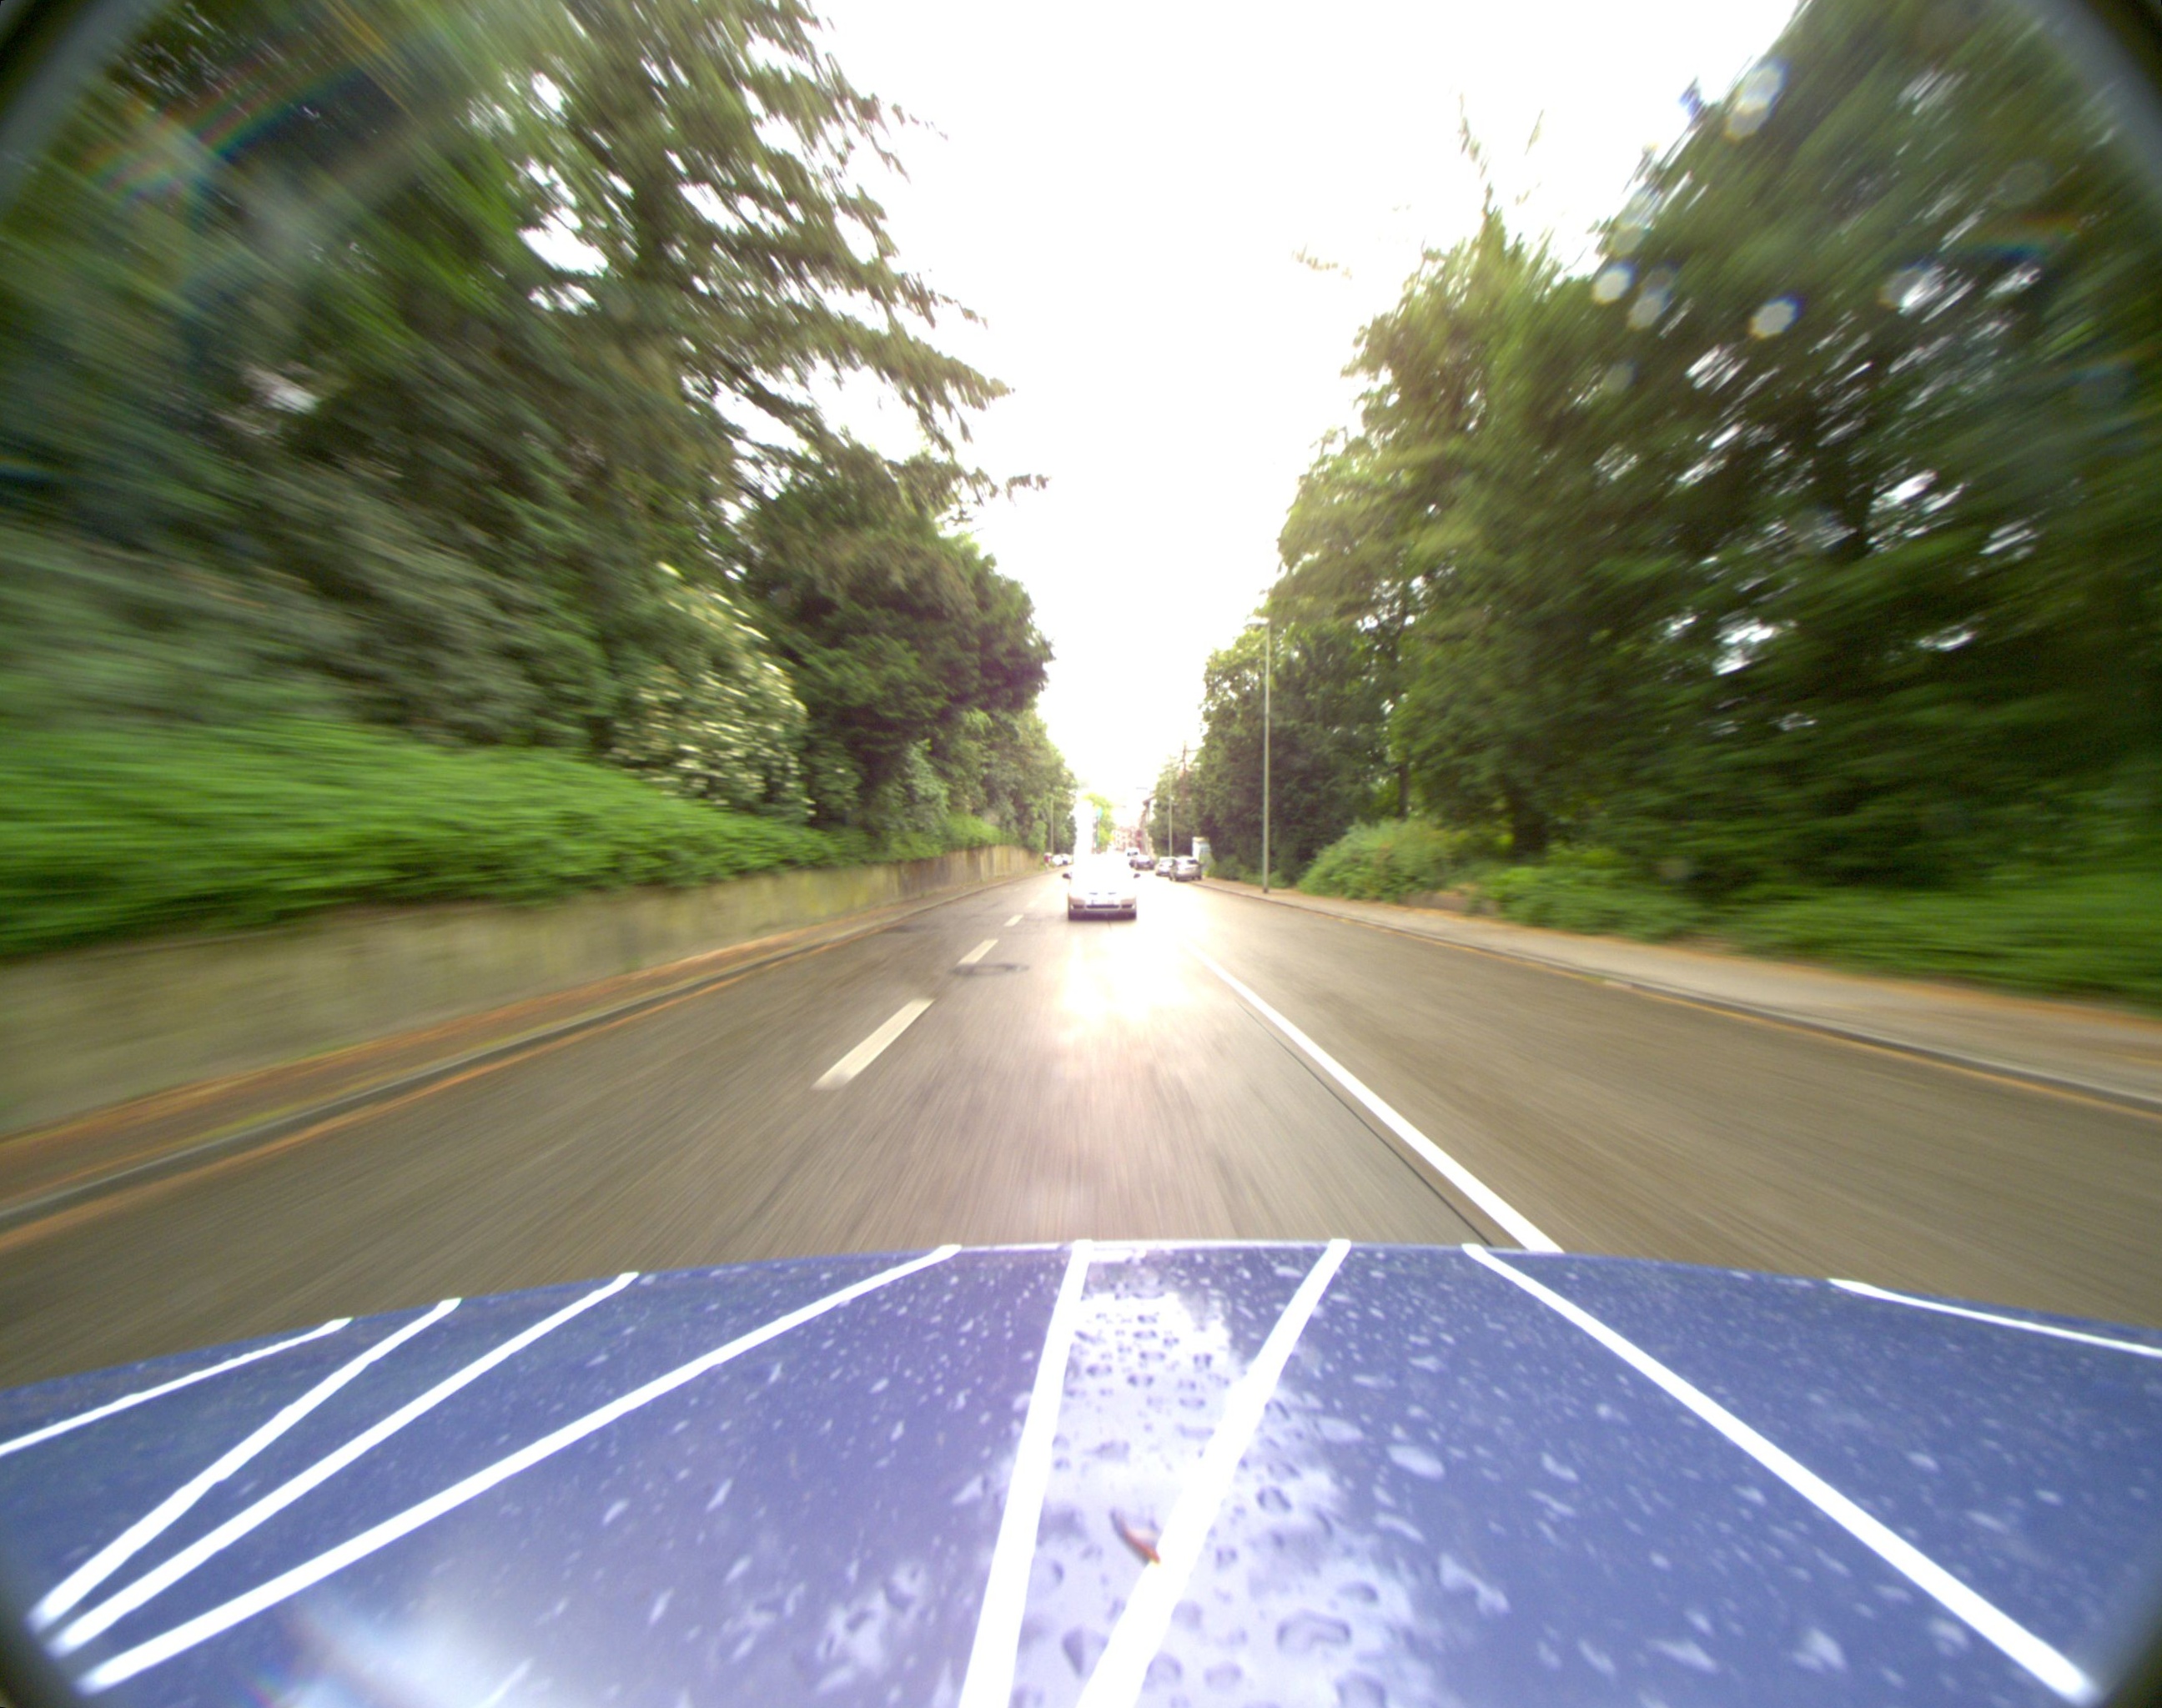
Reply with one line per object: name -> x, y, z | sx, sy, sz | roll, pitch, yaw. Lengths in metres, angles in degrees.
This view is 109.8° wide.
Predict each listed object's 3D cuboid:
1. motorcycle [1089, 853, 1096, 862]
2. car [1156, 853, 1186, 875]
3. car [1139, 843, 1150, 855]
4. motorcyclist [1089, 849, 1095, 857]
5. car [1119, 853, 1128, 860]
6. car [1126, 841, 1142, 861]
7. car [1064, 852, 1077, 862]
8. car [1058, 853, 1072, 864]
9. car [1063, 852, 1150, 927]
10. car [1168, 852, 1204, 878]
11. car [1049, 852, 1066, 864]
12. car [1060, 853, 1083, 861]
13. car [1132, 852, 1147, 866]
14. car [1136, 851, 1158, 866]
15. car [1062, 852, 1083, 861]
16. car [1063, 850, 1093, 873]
motorcycle -> 1.613, 0.502, 107.174 | 0.778, 1.120, 2.300 | -2, 0, 6
car -> 7.068, 0.793, 60.120 | 1.891, 1.602, 4.239 | 2, 0, 1
car -> 14.160, -1.083, 169.878 | 2.122, 2.536, 5.445 | 2, 0, 3
motorcyclist -> 1.602, -0.121, 107.126 | 0.778, 1.120, 0.549 | -2, 1, 5
car -> 8.611, 0.531, 155.292 | 1.765, 1.482, 4.001 | -1, 0, 4
car -> 7.291, -0.402, 105.049 | 2.122, 2.536, 5.445 | 2, 0, 3
car -> -1.631, 0.518, 120.357 | 1.567, 1.458, 3.899 | 2, 0, 4
car -> -2.356, 0.634, 112.766 | 1.769, 1.614, 4.679 | 0, 1, 2
car -> 0.747, 0.775, 18.712 | 1.825, 1.603, 4.190 | -1, 0, 6
car -> 6.678, 0.678, 48.575 | 1.630, 1.490, 3.927 | -2, 0, -2
car -> -3.154, 0.555, 102.397 | 1.742, 1.469, 4.741 | 2, 0, 4
car -> -1.745, 0.628, 143.840 | 4.192, 1.408, 1.804 | 2, 0, 3
car -> 7.188, 0.633, 93.651 | 1.648, 1.595, 4.187 | 2, 0, 4
car -> 6.979, 0.494, 80.956 | 1.864, 1.485, 4.755 | 3, 0, 0
car -> -1.714, 0.456, 156.332 | 4.192, 1.565, 1.804 | 3, 1, 3
car -> -0.197, 0.530, 56.298 | 1.998, 1.603, 3.967 | 0, 0, 3
